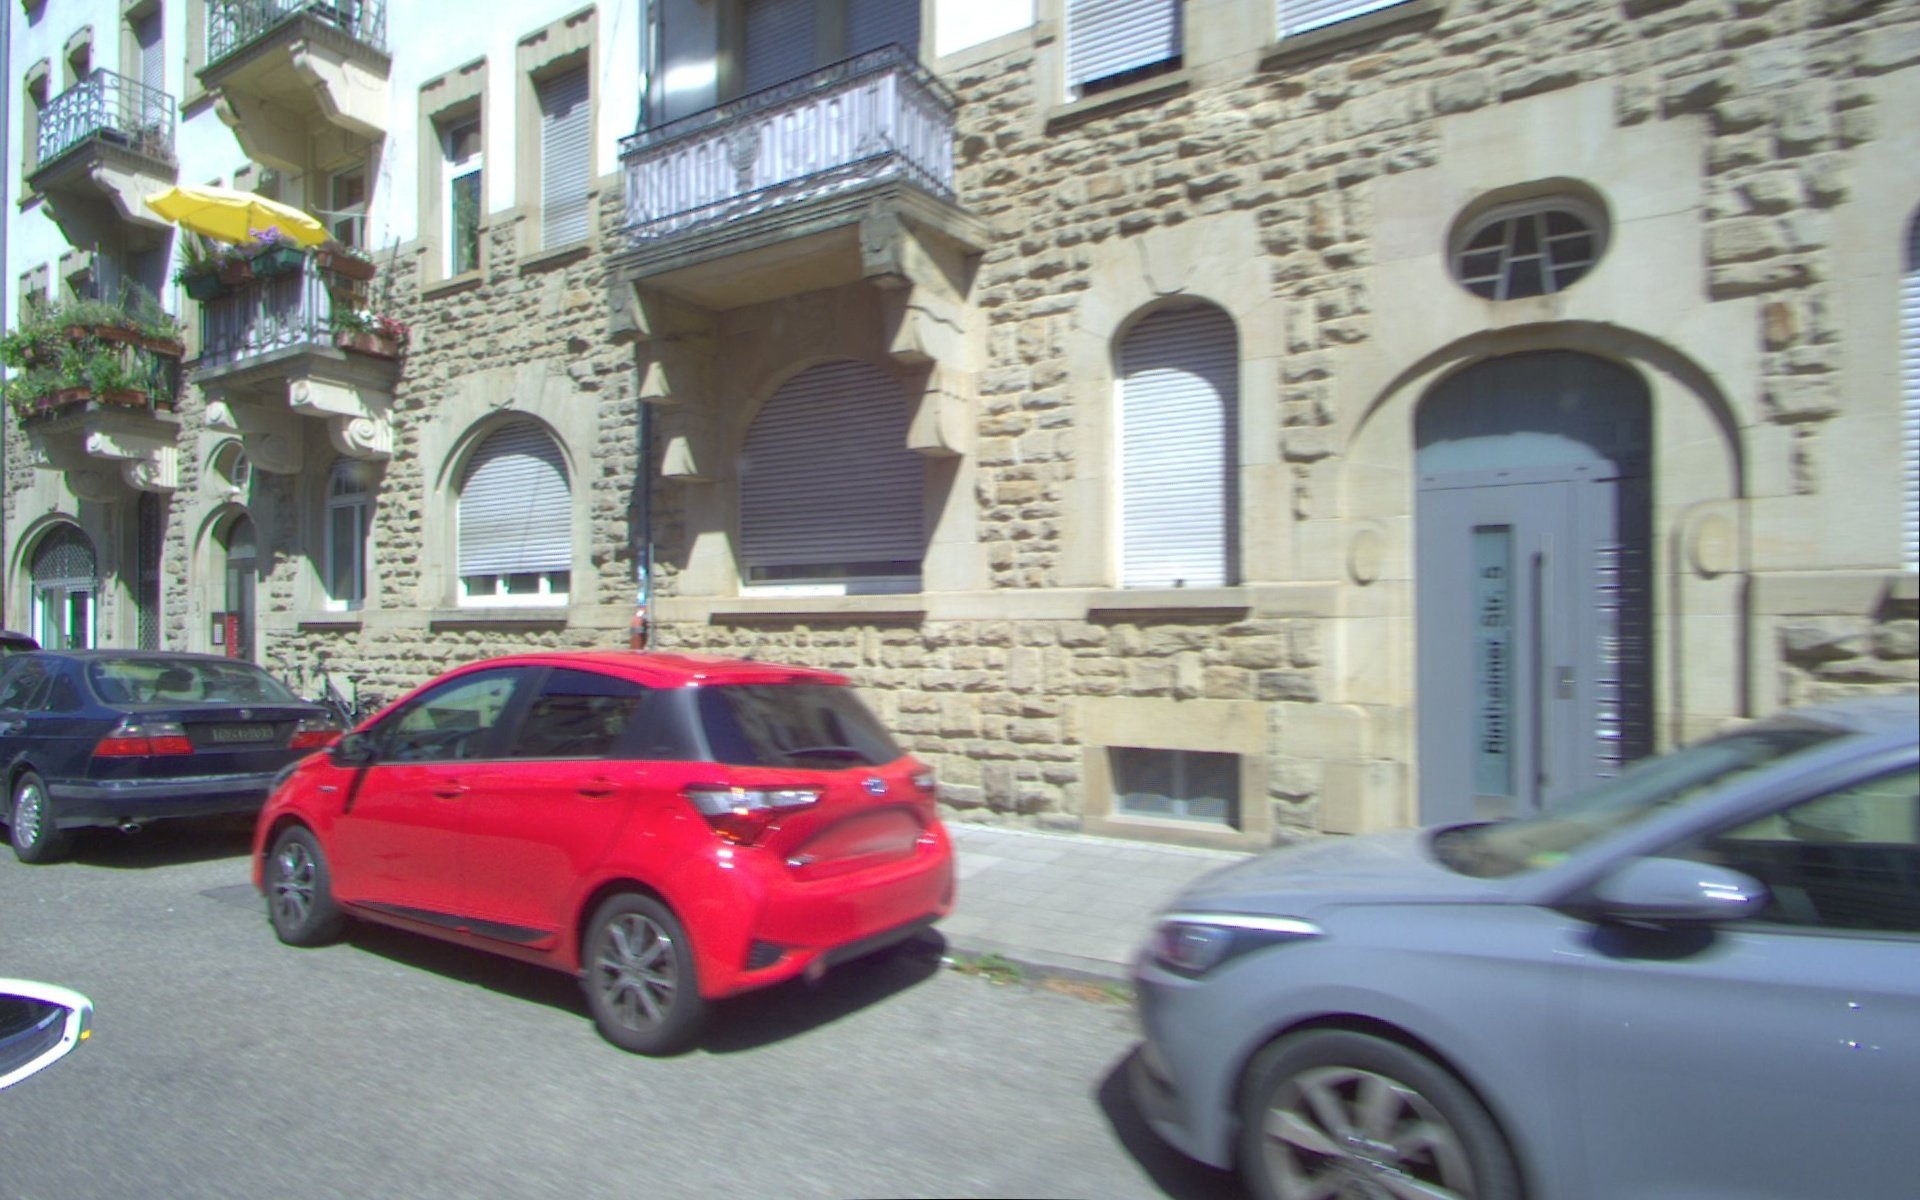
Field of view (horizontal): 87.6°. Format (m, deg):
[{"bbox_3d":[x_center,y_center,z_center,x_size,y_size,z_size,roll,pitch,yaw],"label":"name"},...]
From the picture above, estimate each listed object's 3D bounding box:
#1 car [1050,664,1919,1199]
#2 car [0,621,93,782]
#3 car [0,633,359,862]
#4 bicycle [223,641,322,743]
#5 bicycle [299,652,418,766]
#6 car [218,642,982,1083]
[{"bbox_3d":[2.276,0.925,2.448,3.801,1.470,1.588,-1,-4,32],"label":"car"},{"bbox_3d":[-11.558,1.035,10.847,4.536,1.586,1.832,-1,-4,30],"label":"car"},{"bbox_3d":[-6.657,1.019,7.855,3.912,1.415,1.513,-1,-6,29],"label":"car"},{"bbox_3d":[-8.725,1.133,12.684,1.750,1.223,0.383,-1,-1,33],"label":"bicycle"},{"bbox_3d":[-6.972,1.225,11.580,1.750,1.223,0.440,-1,-1,33],"label":"bicycle"},{"bbox_3d":[-1.920,0.973,5.050,3.787,1.470,1.569,-1,-4,31],"label":"car"}]
